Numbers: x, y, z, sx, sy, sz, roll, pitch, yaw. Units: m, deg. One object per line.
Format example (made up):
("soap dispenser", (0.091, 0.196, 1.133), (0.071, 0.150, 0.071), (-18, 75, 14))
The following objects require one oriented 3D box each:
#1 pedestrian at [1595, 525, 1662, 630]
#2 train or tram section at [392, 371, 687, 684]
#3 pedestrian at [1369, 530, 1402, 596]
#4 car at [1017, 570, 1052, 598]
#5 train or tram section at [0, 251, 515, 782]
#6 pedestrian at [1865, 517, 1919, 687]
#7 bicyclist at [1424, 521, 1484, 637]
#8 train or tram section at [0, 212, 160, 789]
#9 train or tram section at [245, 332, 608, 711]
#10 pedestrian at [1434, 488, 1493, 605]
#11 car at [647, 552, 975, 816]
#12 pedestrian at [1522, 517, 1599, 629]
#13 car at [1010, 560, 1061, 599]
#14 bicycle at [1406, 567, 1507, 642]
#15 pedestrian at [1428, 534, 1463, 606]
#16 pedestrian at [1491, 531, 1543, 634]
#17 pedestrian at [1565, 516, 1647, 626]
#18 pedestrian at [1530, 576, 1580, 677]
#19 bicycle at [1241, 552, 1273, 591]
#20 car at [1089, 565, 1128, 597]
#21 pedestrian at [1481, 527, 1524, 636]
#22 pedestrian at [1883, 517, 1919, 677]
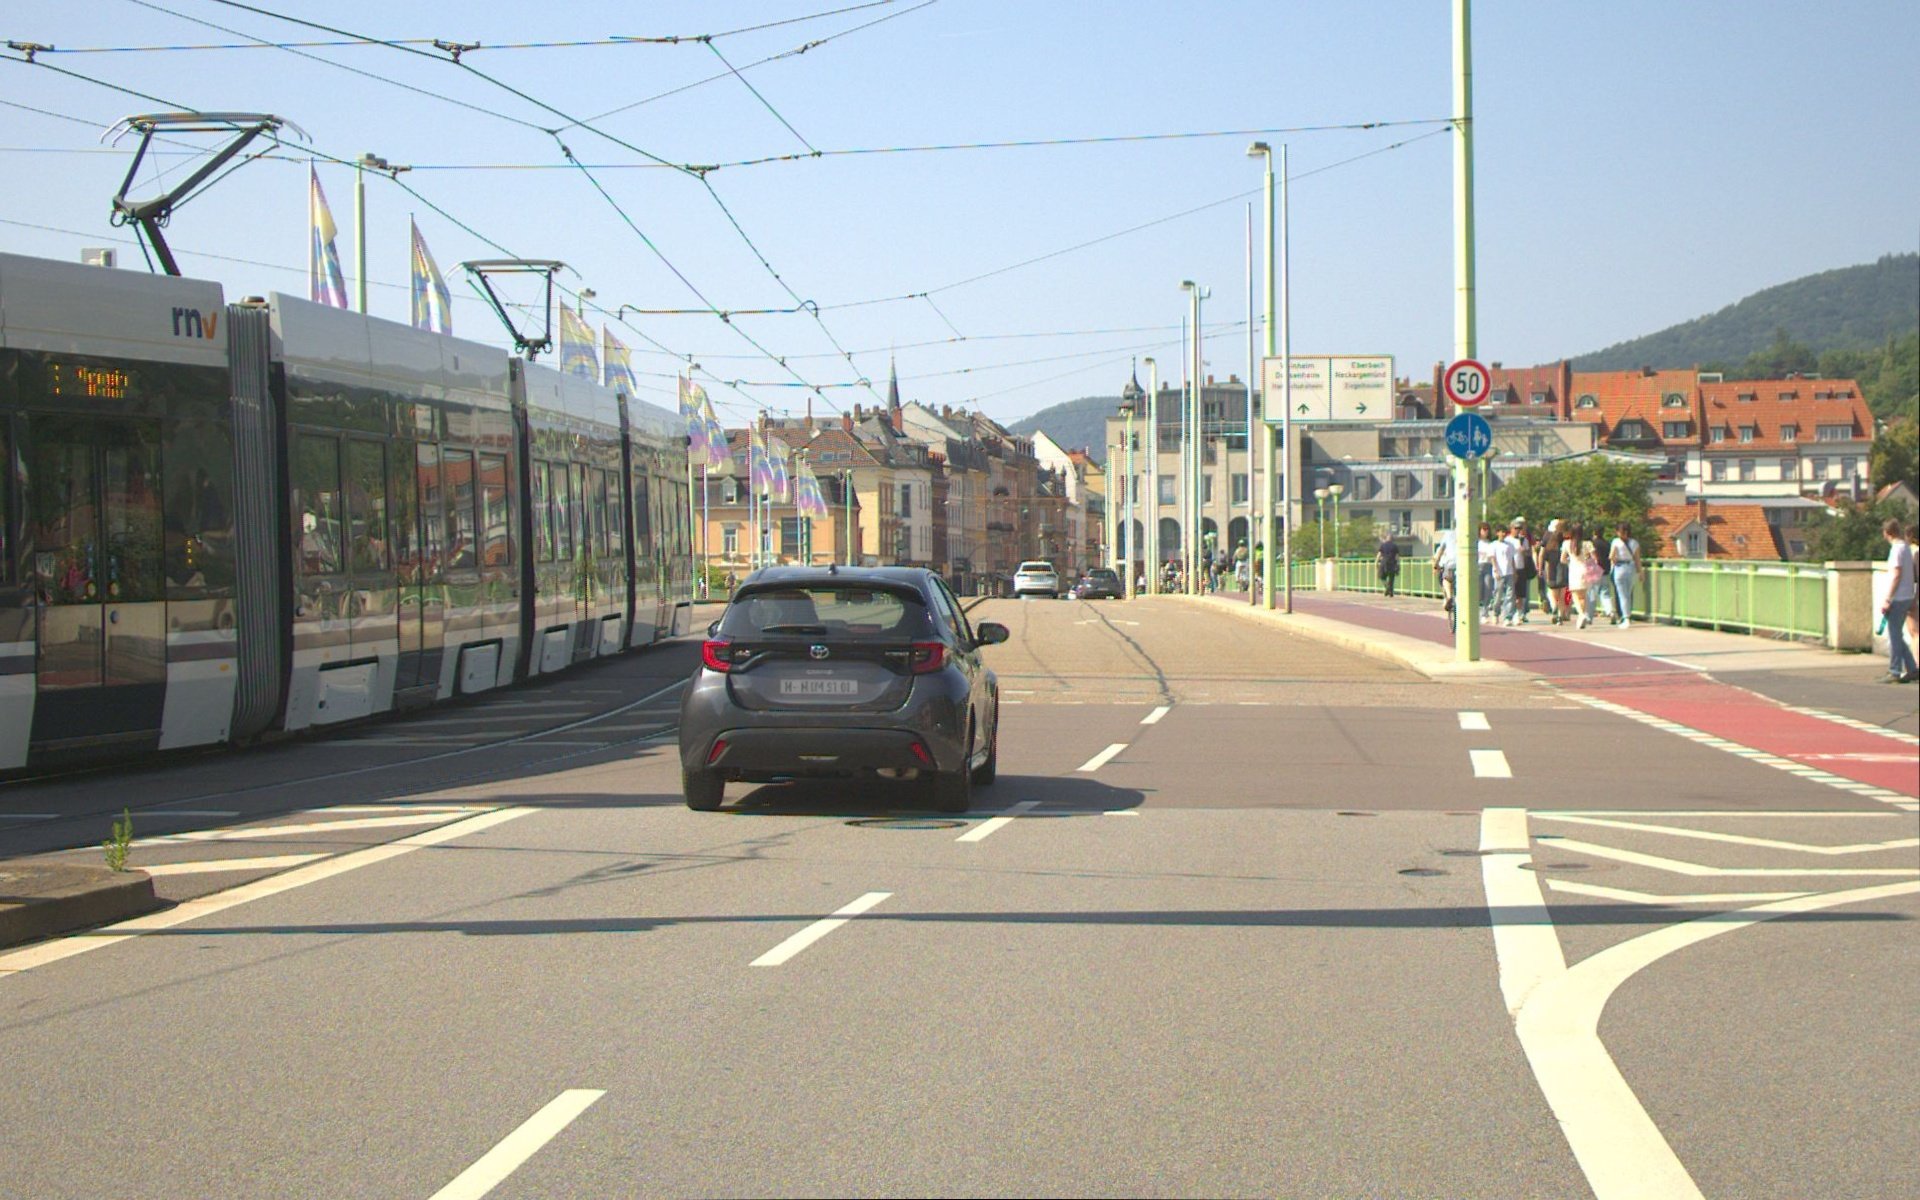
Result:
("pedestrian", (10.509, -0.362, 54.058), (0.799, 1.629, 0.950), (-1, 0, -5))
("train or tram section", (-5.578, -1.006, 47.723), (2.470, 3.764, 11.850), (-1, 1, 1))
("pedestrian", (11.400, -1.003, 92.097), (0.654, 1.738, 0.978), (0, 2, -7))
("car", (4.571, -0.975, 210.723), (1.993, 1.711, 4.000), (0, 0, -1))
("train or tram section", (-6.190, -0.682, 29.123), (2.538, 3.764, 9.167), (-1, 1, 7))
("pedestrian", (10.401, 0.011, 37.737), (0.774, 1.849, 0.644), (0, 1, 4))
("bicyclist", (7.558, -0.323, 52.623), (0.673, 1.738, 1.150), (-1, 0, -3))
("train or tram section", (-8.185, -0.599, 20.335), (2.539, 3.764, 9.162), (0, 1, 16))
("train or tram section", (-5.704, -0.868, 38.407), (2.404, 3.668, 9.620), (-1, 1, 1))
("pedestrian", (8.669, -0.915, 59.189), (0.803, 2.007, 0.954), (0, 0, -5))
("car", (-0.902, 0.463, 22.064), (1.910, 1.535, 4.000), (0, 1, -1))
("pedestrian", (9.455, -0.421, 54.130), (0.984, 1.744, 0.930), (0, 0, -5))
("car", (3.038, -0.813, 138.772), (1.804, 1.464, 4.000), (-2, 0, -2))
("bicycle", (7.594, 0.056, 52.730), (0.792, 1.092, 3.745), (-1, 0, -3))
("pedestrian", (10.561, -0.658, 74.814), (0.649, 1.557, 0.692), (-1, 1, 3))
("pedestrian", (9.345, -0.290, 57.677), (0.695, 1.711, 0.732), (0, 0, -5))
("pedestrian", (10.542, -0.475, 56.107), (0.984, 1.763, 1.254), (-1, 1, -5))
("pedestrian", (9.753, 0.436, 56.372), (0.654, 1.644, 0.868), (0, 0, -2))
("bicycle", (9.431, -0.901, 109.275), (0.695, 1.189, 2.079), (-1, 0, -3))
("car", (7.109, -0.902, 164.318), (1.804, 1.464, 3.999), (-2, 0, 3))
("pedestrian", (8.975, -0.304, 56.908), (0.549, 1.793, 0.646), (0, 0, -5))
("pedestrian", (10.549, -0.041, 38.028), (0.534, 1.754, 0.577), (0, 1, 4))
